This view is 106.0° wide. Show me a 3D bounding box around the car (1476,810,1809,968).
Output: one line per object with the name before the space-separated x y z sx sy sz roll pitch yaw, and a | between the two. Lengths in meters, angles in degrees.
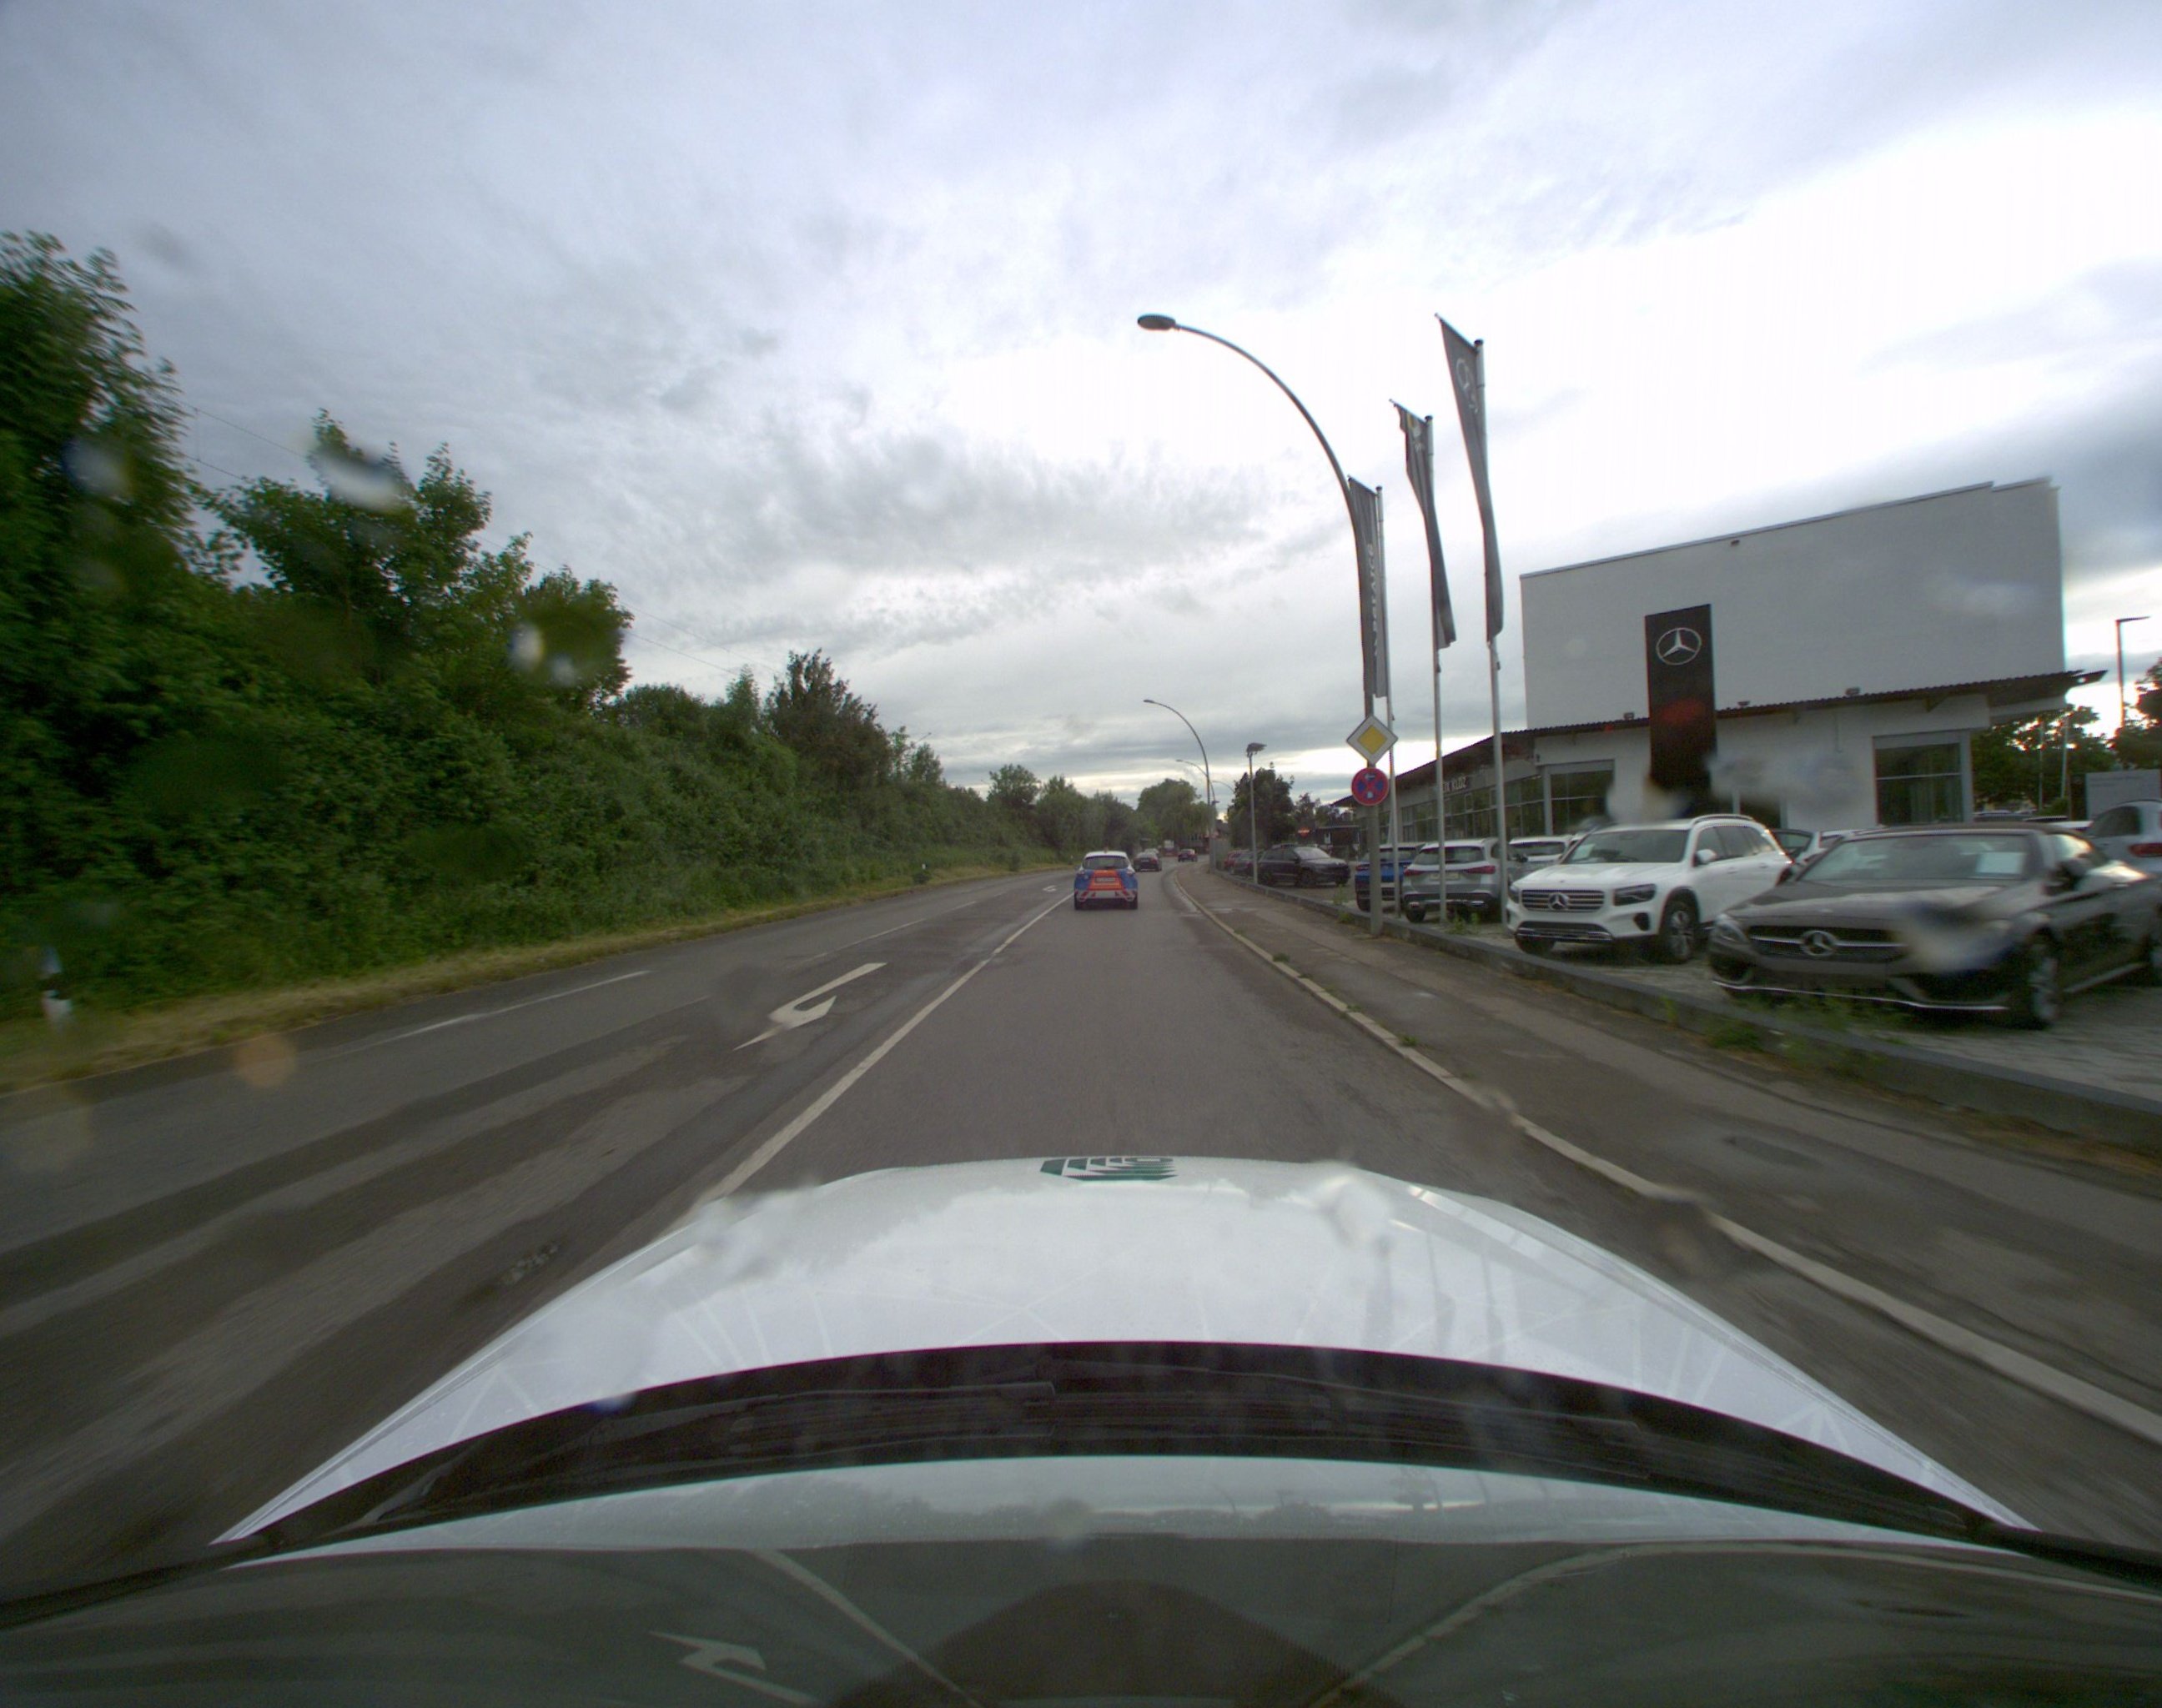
car | 7.326 0.318 10.518 4.443 1.652 1.907 -2 0 -32

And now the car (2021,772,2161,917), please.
car | 14.479 -0.060 10.948 1.657 1.720 4.025 -1 -2 38

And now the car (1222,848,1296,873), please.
car | 12.411 0.468 56.984 4.637 1.662 2.013 0 -1 36

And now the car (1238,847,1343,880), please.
car | 9.893 0.466 38.661 4.385 1.479 1.947 -2 0 38

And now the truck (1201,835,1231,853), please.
truck | 27.291 -1.988 164.079 2.671 3.412 9.128 0 -1 32

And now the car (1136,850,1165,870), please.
car | 4.986 0.406 58.331 1.710 1.376 3.944 0 -1 10

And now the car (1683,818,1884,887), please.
car | 16.981 -0.010 19.850 3.517 1.478 1.792 -3 0 41

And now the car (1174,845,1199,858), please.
car | 12.095 -0.306 93.320 1.977 1.420 4.019 0 -1 19

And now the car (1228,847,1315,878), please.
car | 9.837 0.422 42.243 3.949 1.556 1.910 0 -1 43

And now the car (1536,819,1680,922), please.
car | 9.478 0.241 14.525 1.643 1.599 3.581 -4 -1 40

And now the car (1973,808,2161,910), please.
car | 18.073 0.141 14.876 1.749 1.641 4.011 -1 -2 38

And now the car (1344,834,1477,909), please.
car | 8.518 0.394 20.821 1.820 1.632 4.394 -4 -1 40

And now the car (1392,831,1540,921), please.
car | 7.946 0.393 16.632 1.709 1.599 3.839 -4 -1 40

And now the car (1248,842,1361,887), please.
car | 8.835 0.397 32.604 1.845 1.608 4.513 -3 1 -24

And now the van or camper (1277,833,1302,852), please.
van or camper | 30.360 -1.642 118.505 2.022 2.593 6.630 -3 0 28

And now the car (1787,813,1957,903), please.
car | 15.371 0.046 16.052 1.879 1.545 4.026 -2 0 37

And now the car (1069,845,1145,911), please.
car | 0.699 0.610 23.126 1.882 1.632 4.000 -3 0 1

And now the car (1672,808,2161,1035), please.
car | 7.152 0.385 6.854 4.151 1.394 1.835 -2 0 -27

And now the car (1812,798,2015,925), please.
car | 11.897 0.175 11.883 1.660 1.454 3.946 -9 -7 42

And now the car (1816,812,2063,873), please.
car | 23.528 -0.302 22.612 4.353 1.442 2.013 -2 1 34

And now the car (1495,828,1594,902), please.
car | 11.609 0.224 20.260 1.709 1.599 4.207 -4 -1 35

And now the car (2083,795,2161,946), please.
car | 11.155 0.151 6.901 1.941 1.499 4.392 -1 0 31
